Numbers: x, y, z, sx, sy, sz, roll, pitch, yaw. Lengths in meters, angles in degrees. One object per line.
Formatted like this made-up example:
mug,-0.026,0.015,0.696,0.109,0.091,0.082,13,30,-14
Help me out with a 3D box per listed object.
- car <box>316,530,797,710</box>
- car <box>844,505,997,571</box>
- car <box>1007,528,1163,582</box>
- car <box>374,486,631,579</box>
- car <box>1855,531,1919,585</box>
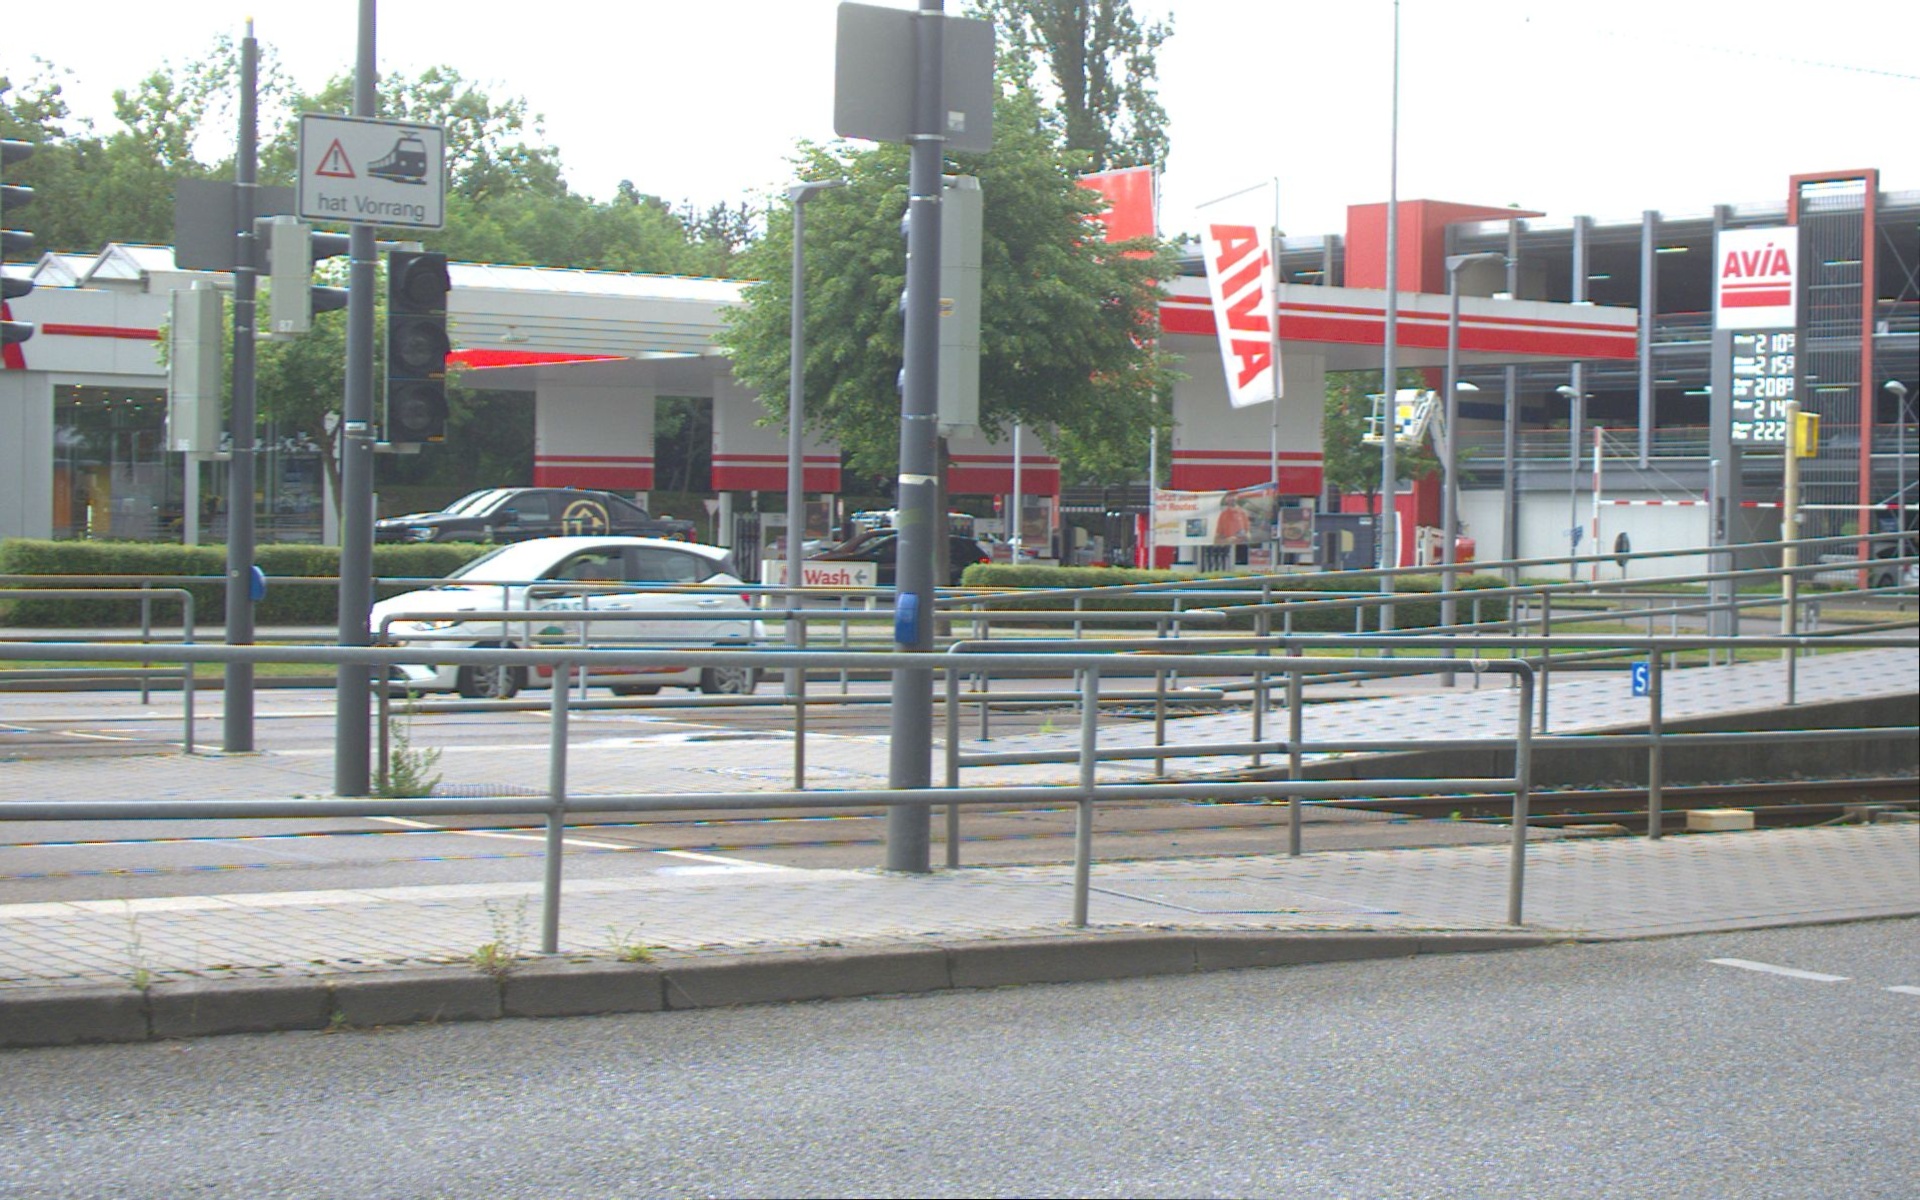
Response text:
car,-3.473,0.174,29.897,3.817,1.449,1.632,1,1,-37
car,-1.101,-1.733,96.940,4.047,1.746,1.915,1,0,-42
car,3.415,-1.212,93.641,4.047,1.361,1.915,1,0,-42
car,-7.099,-1.037,53.456,3.624,1.345,1.618,1,1,-38
car,26.372,-1.139,94.424,3.549,1.410,1.721,1,0,-40
